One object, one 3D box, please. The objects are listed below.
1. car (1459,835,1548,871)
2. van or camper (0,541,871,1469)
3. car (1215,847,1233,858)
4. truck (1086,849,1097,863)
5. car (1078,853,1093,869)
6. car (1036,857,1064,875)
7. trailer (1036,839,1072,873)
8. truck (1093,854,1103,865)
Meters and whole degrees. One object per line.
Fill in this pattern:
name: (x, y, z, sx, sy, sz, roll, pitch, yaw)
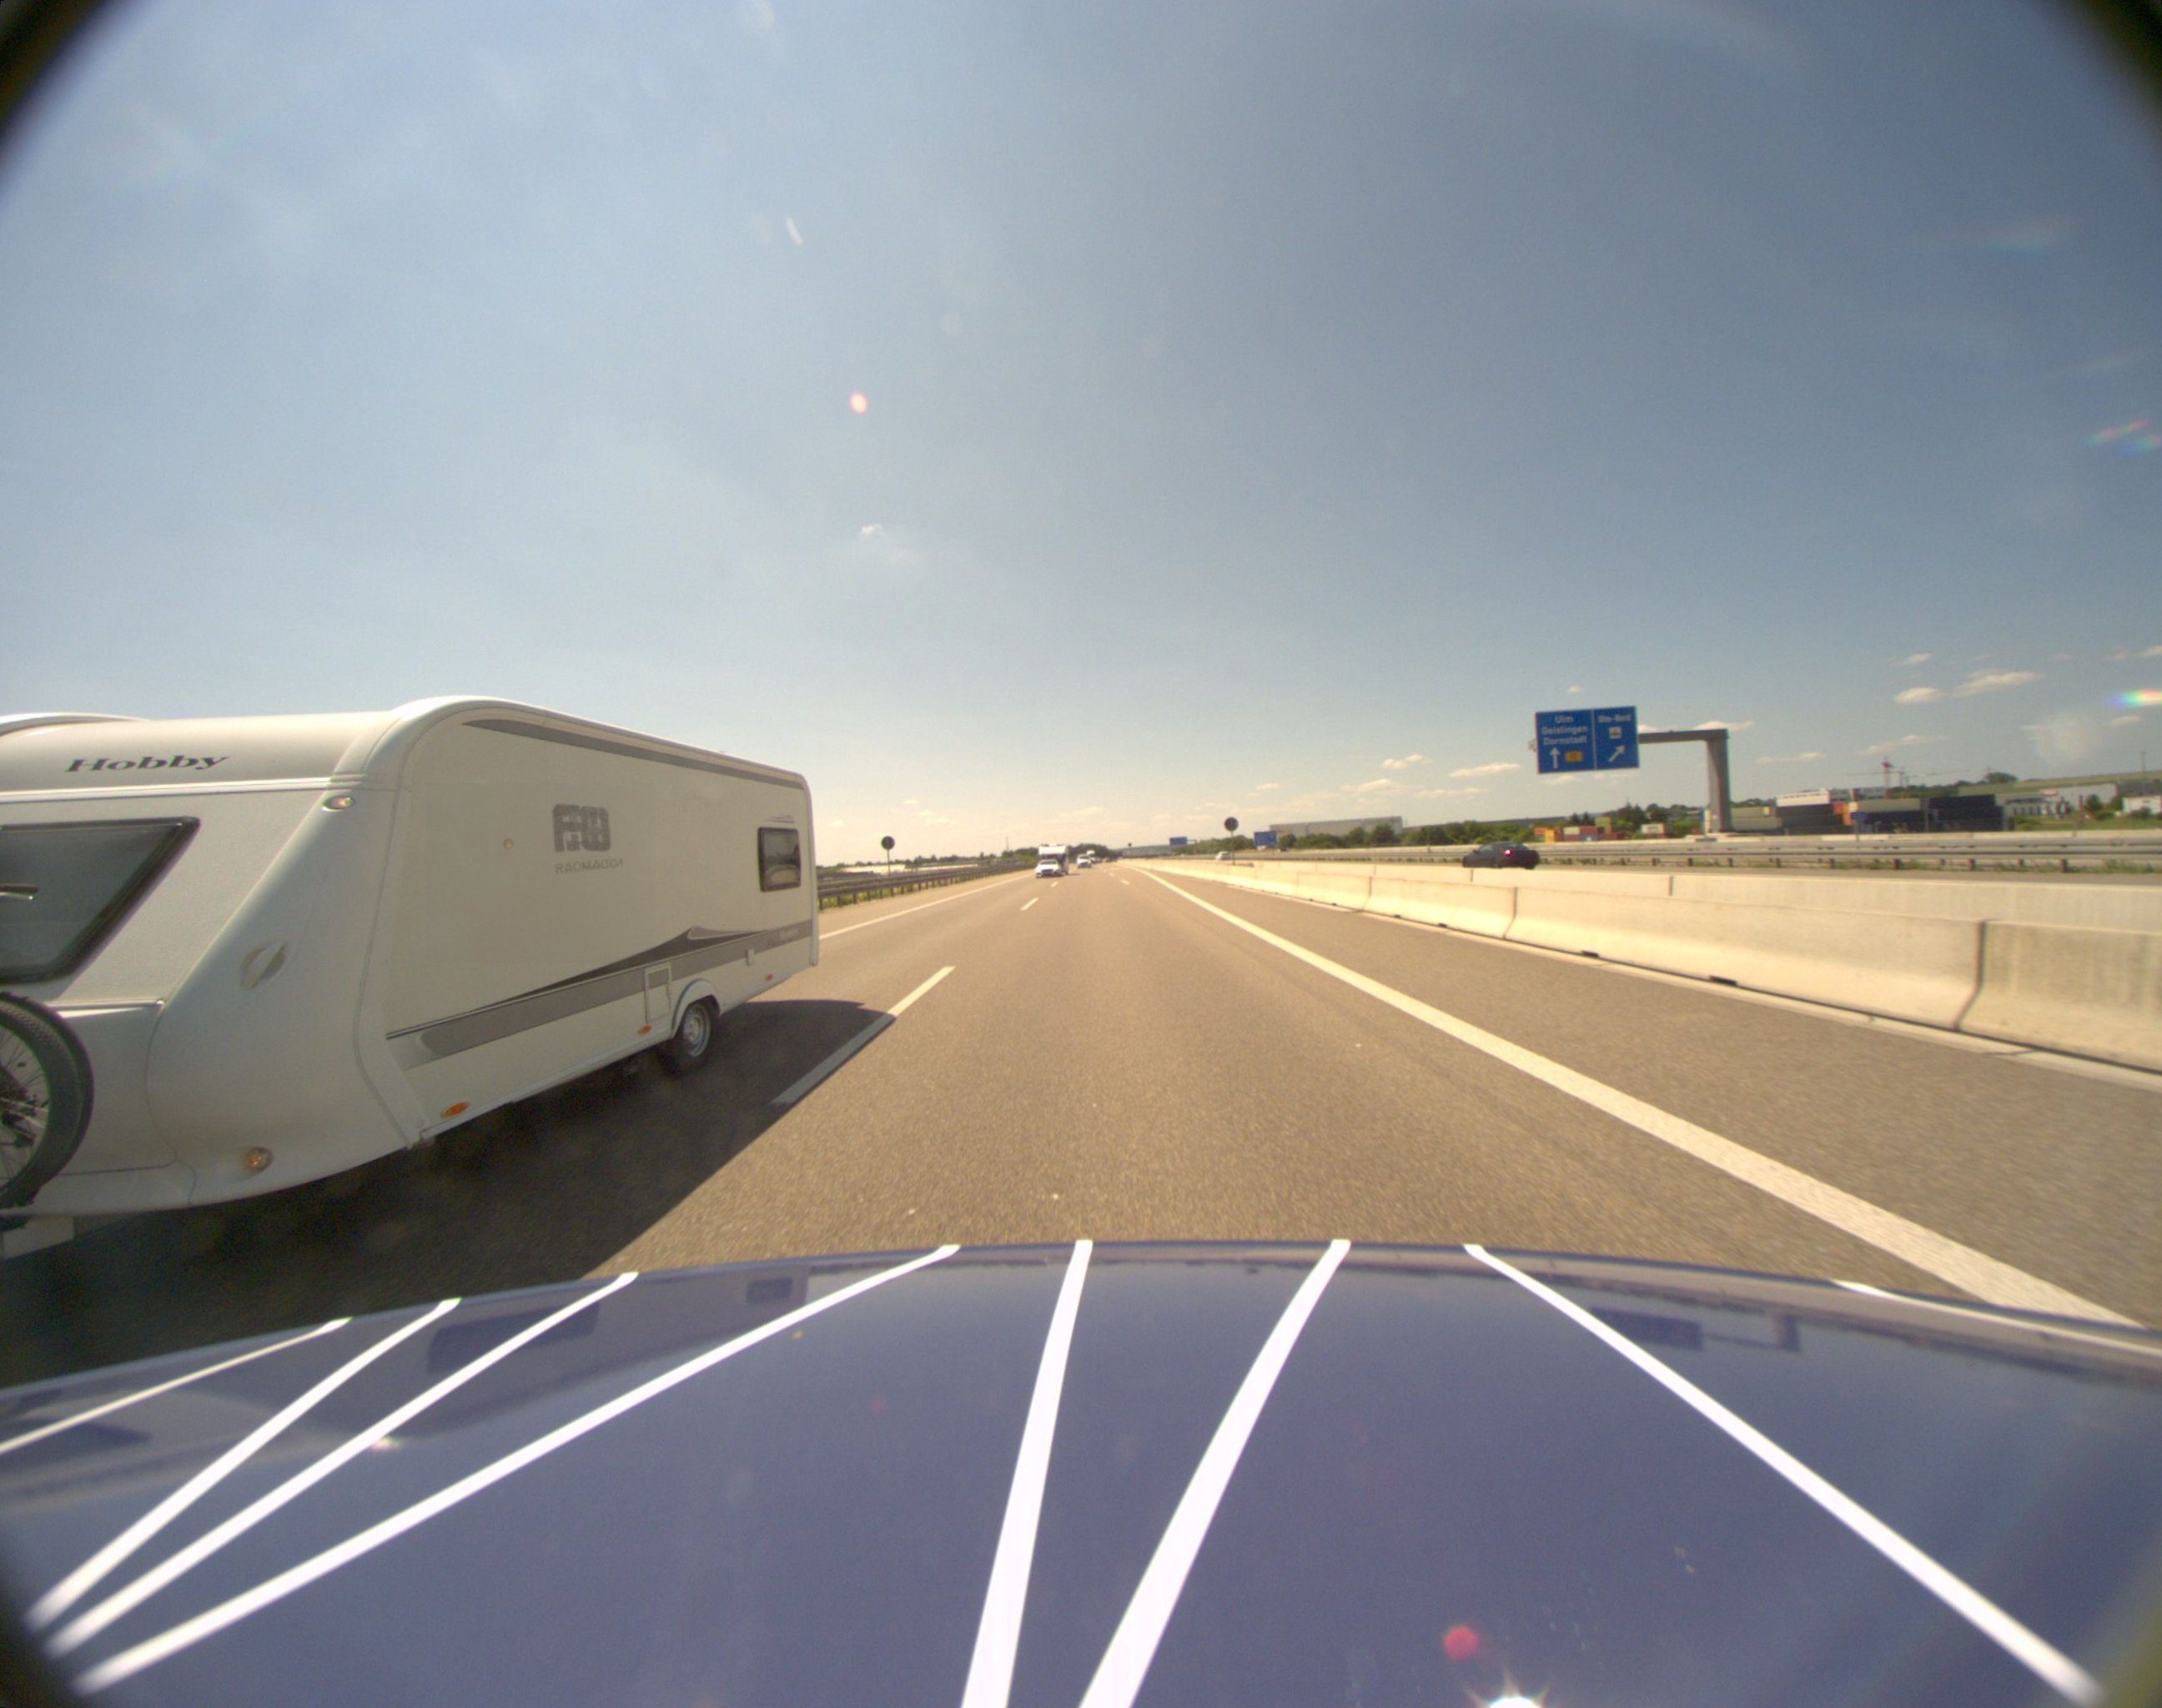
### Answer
car: (19.969, -0.065, 36.151, 1.737, 1.527, 4.548, -3, 0, 1)
van or camper: (-4.111, 0.485, 6.031, 2.518, 2.577, 7.817, -2, 0, 1)
car: (21.182, -0.231, 112.727, 1.814, 1.427, 4.442, -3, 0, 1)
truck: (2.225, 0.428, 159.051, 2.168, 2.797, 6.490, -2, 0, 1)
car: (0.663, 0.979, 104.540, 1.998, 2.002, 4.000, -2, 0, 1)
car: (-2.417, 0.902, 60.263, 1.872, 1.352, 3.673, -1, 0, 2)
trailer: (-2.233, 0.201, 65.640, 2.500, 2.686, 7.156, -2, 0, 2)
truck: (4.191, 1.337, 189.172, 2.168, 2.797, 6.491, -2, 0, 3)
